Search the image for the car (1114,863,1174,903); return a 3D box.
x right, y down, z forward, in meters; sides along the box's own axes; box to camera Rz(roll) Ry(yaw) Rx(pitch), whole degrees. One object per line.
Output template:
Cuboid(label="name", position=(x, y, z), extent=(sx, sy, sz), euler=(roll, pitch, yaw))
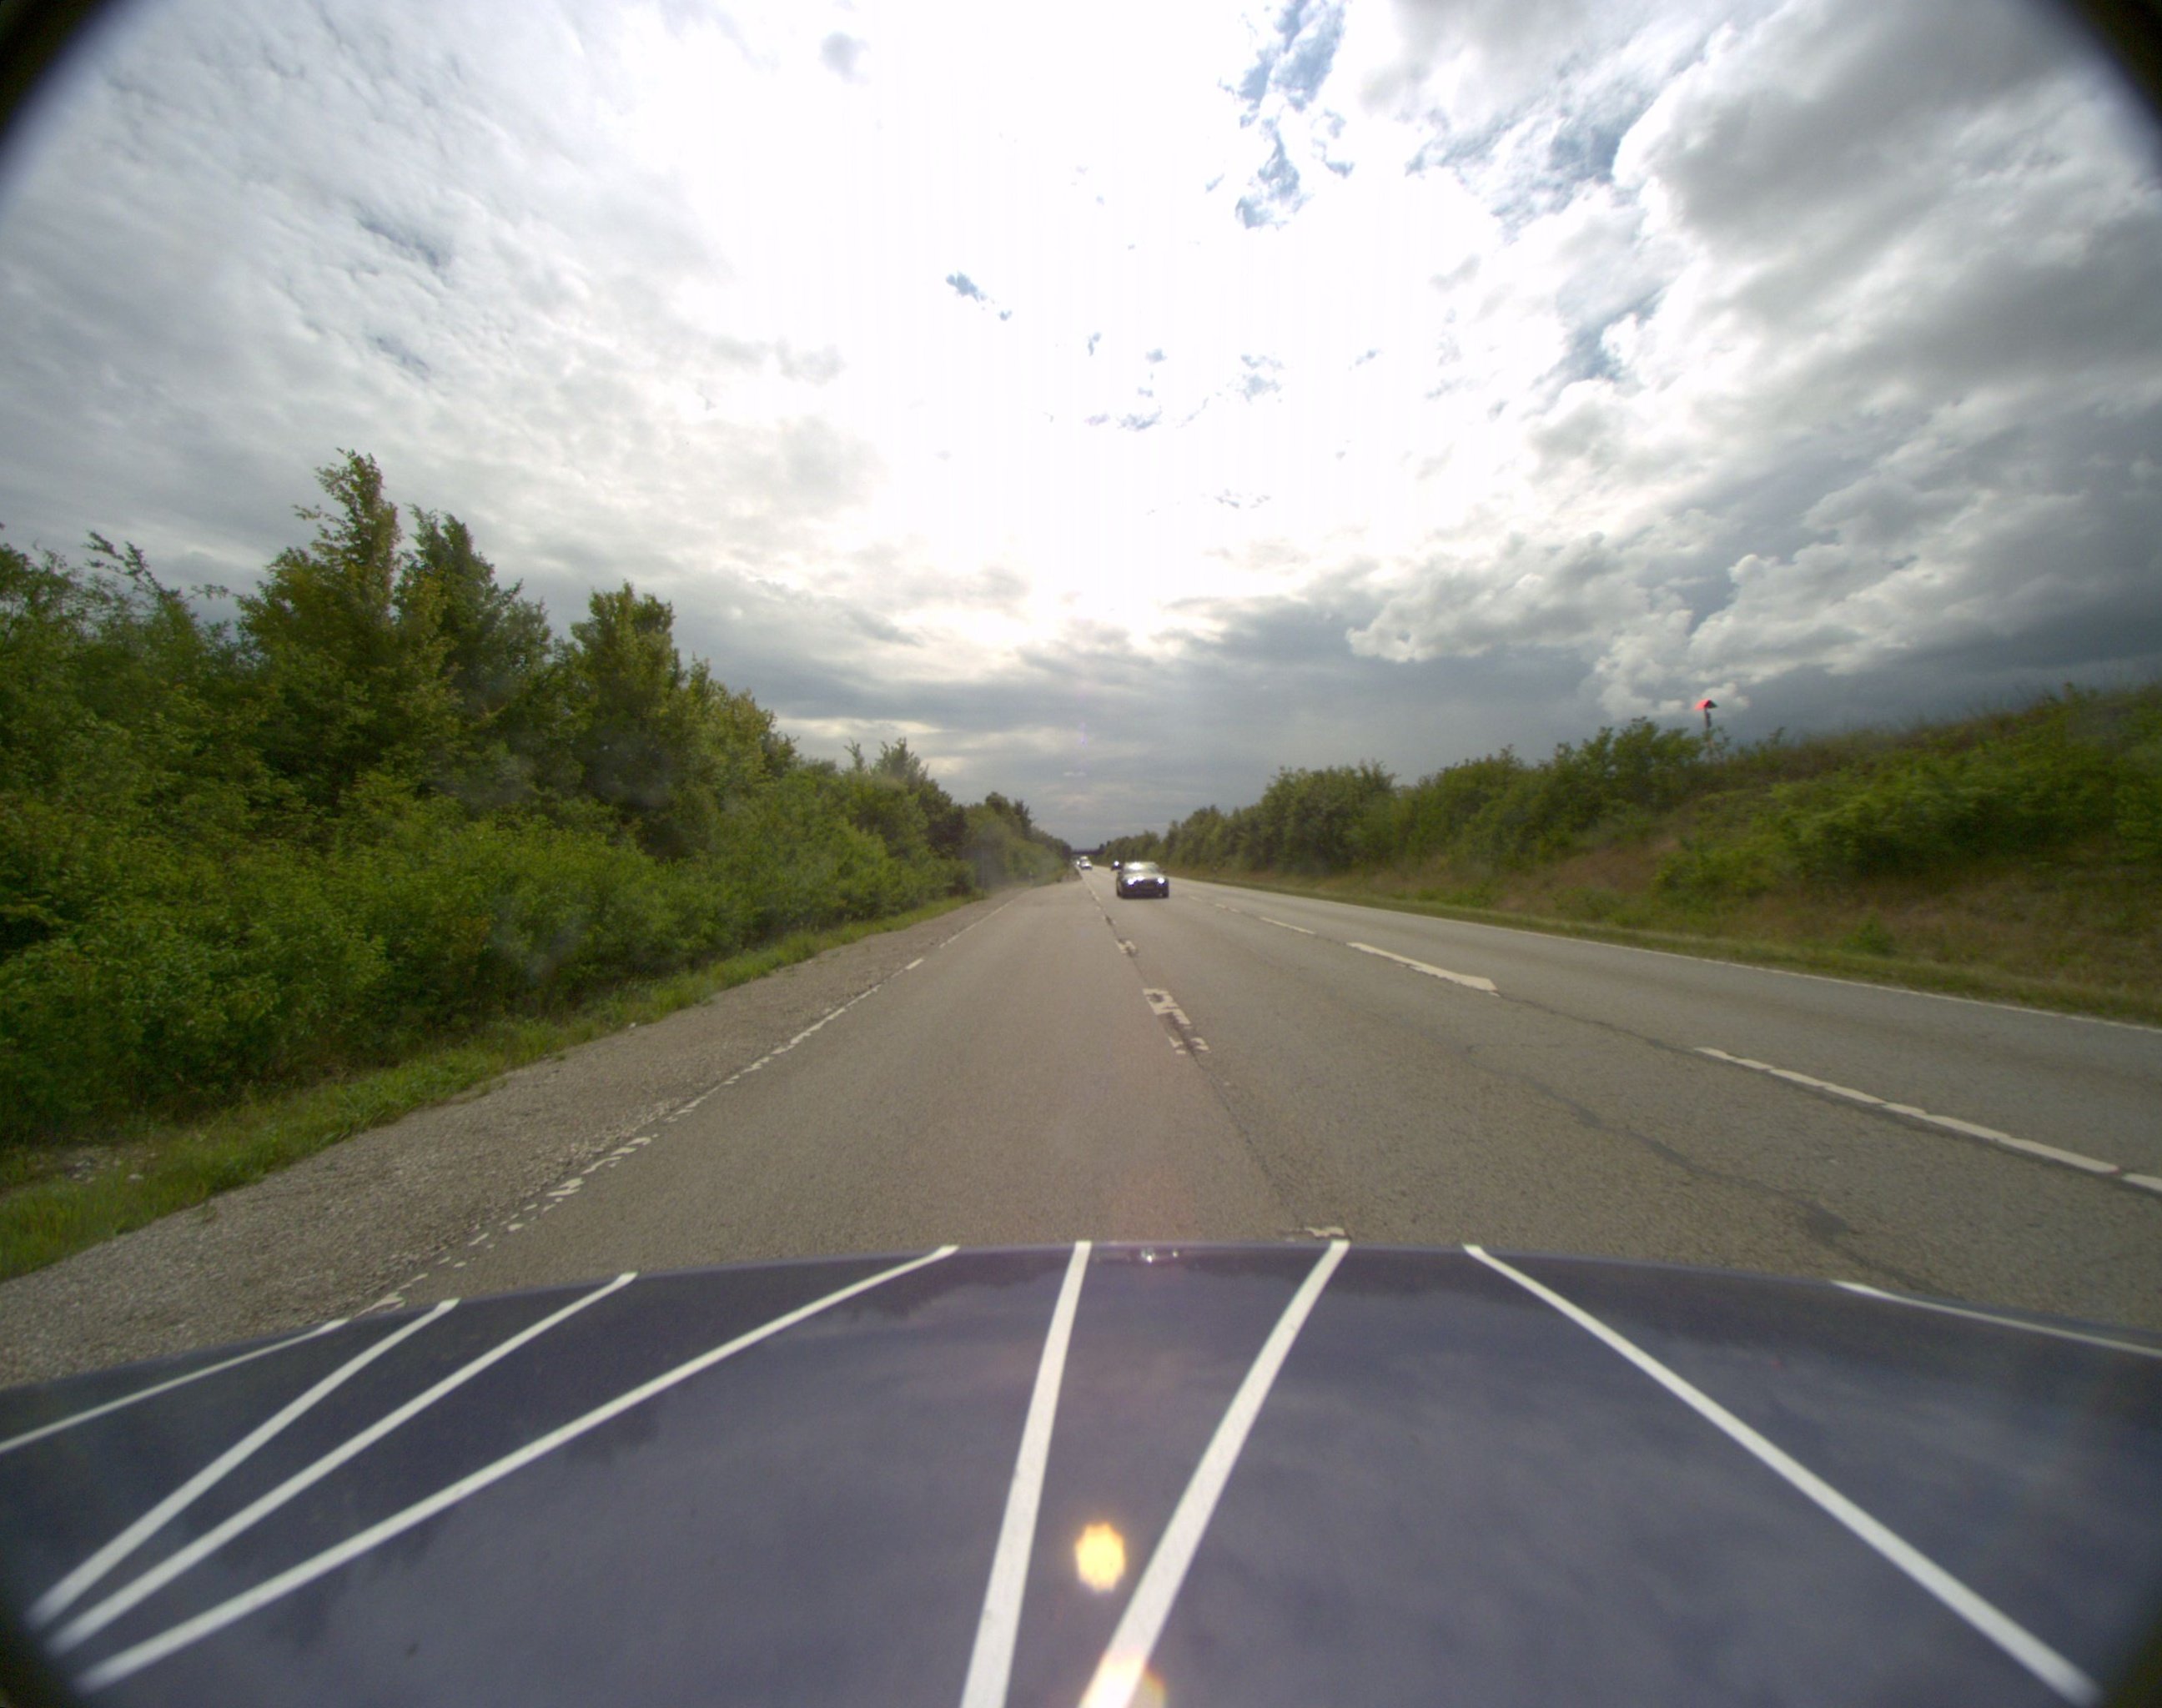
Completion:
Cuboid(label="car", position=(2.557, 1.161, 31.963), extent=(1.999, 1.436, 4.640), euler=(-3, 0, -1))

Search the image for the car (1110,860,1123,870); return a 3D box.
Cuboid(label="car", position=(5.243, 1.611, 113.543), extent=(1.705, 1.322, 4.000), euler=(-1, 0, -1))

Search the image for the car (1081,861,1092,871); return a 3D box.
Cuboid(label="car", position=(1.054, 2.181, 137.554), extent=(1.870, 1.597, 4.000), euler=(-2, 0, -1))
